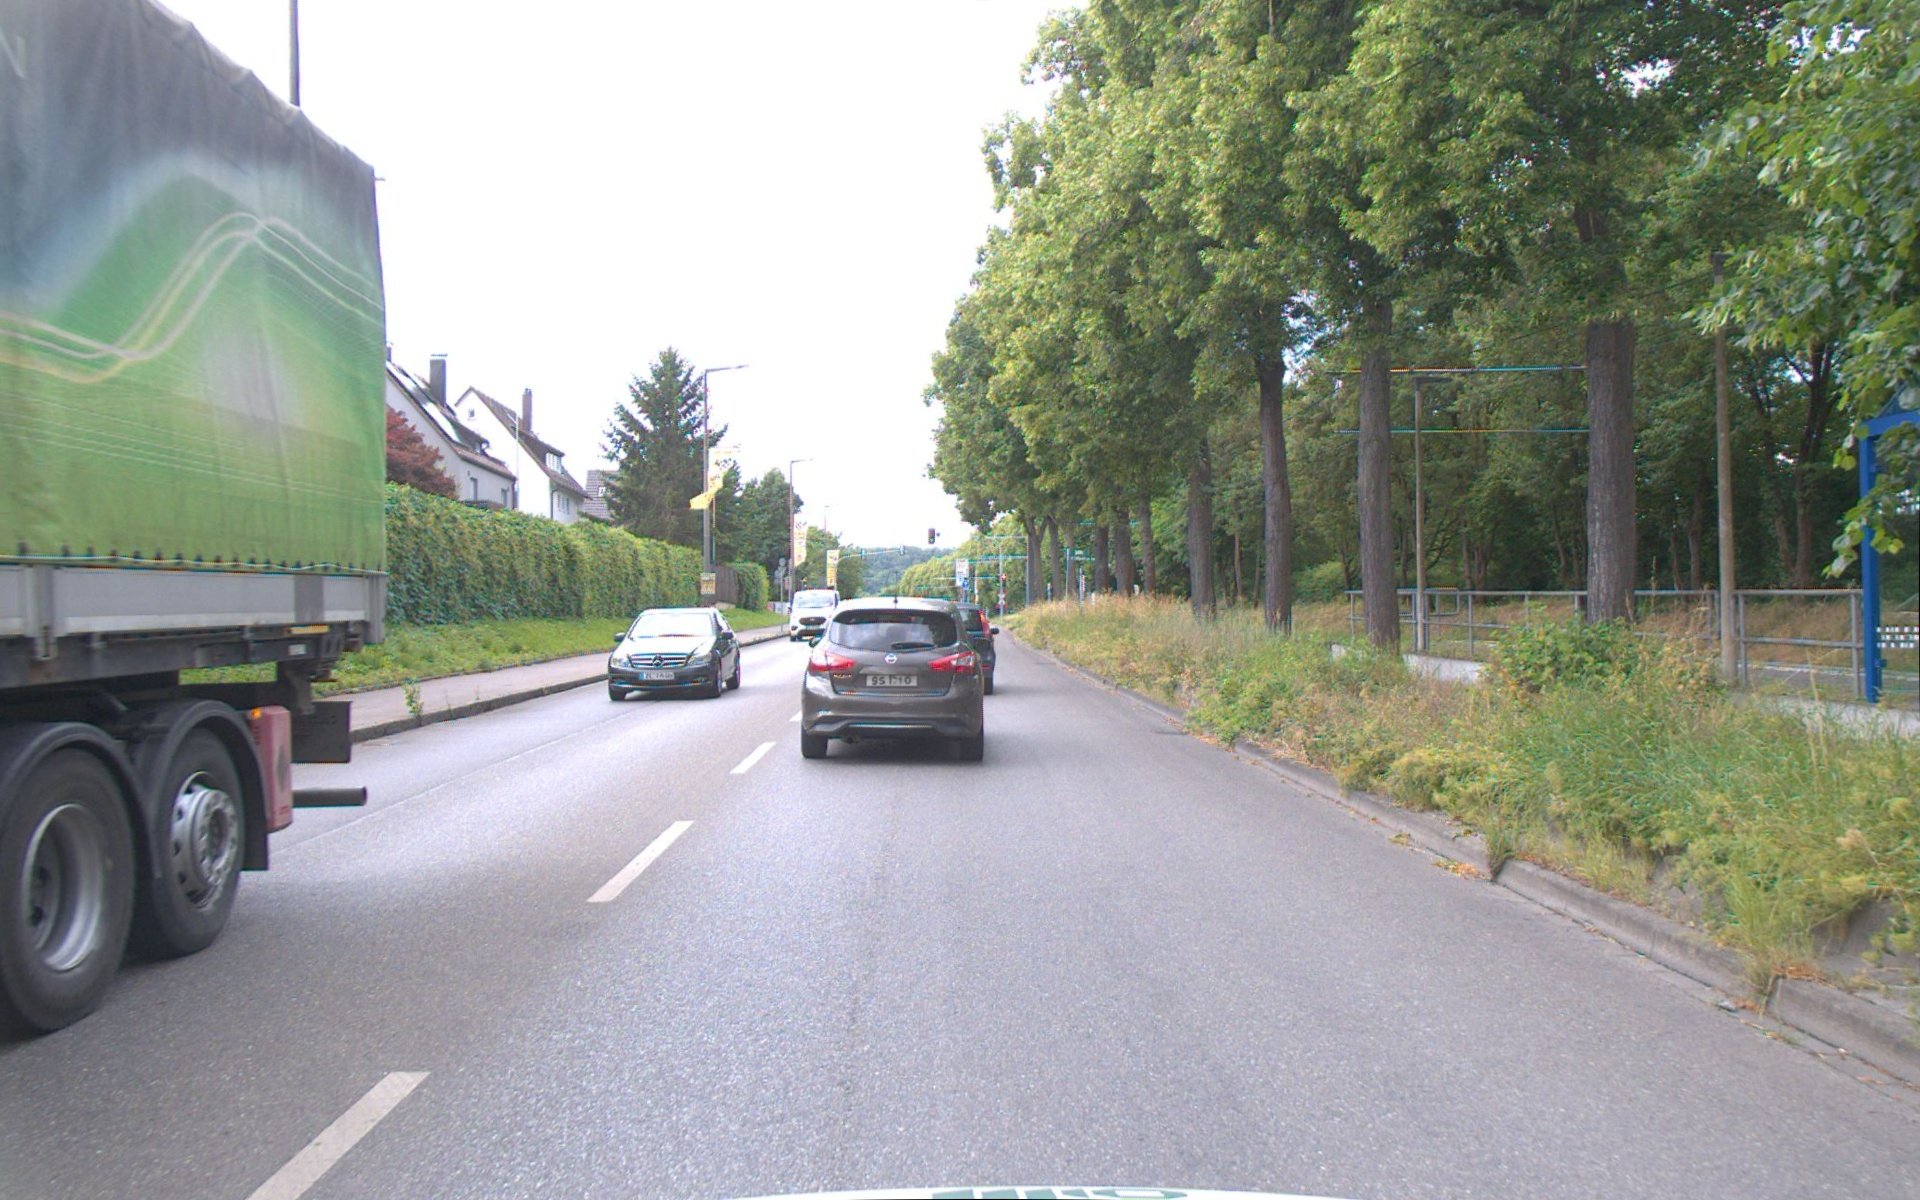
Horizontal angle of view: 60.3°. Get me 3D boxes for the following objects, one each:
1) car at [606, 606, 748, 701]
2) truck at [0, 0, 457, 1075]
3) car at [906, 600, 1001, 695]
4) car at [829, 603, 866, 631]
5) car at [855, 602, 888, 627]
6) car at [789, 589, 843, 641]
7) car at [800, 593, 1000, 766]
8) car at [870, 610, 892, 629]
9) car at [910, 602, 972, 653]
[{"bbox_3d":[-4.620,0.828,27.538,1.698,1.399,4.238,-2,0,-2],"label":"car"},{"bbox_3d":[-4.328,-0.516,5.069,2.499,4.114,10.615,-2,-1,-2],"label":"truck"},{"bbox_3d":[-0.132,0.763,28.386,1.507,1.504,3.763,0,0,-1],"label":"car"},{"bbox_3d":[-5.703,0.849,84.223,1.617,1.371,4.476,-2,0,-1],"label":"car"},{"bbox_3d":[-5.168,0.838,97.050,1.848,1.407,4.488,-2,0,-3],"label":"car"},{"bbox_3d":[-5.787,0.558,66.936,1.868,1.966,4.909,-1,1,-2],"label":"car"},{"bbox_3d":[-0.575,0.716,17.209,1.798,1.545,4.482,-1,0,-1],"label":"car"},{"bbox_3d":[-6.508,1.609,136.517,1.693,1.490,4.152,-2,0,-1],"label":"car"},{"bbox_3d":[-0.567,0.784,48.762,1.755,1.421,3.999,-1,0,-1],"label":"car"}]
